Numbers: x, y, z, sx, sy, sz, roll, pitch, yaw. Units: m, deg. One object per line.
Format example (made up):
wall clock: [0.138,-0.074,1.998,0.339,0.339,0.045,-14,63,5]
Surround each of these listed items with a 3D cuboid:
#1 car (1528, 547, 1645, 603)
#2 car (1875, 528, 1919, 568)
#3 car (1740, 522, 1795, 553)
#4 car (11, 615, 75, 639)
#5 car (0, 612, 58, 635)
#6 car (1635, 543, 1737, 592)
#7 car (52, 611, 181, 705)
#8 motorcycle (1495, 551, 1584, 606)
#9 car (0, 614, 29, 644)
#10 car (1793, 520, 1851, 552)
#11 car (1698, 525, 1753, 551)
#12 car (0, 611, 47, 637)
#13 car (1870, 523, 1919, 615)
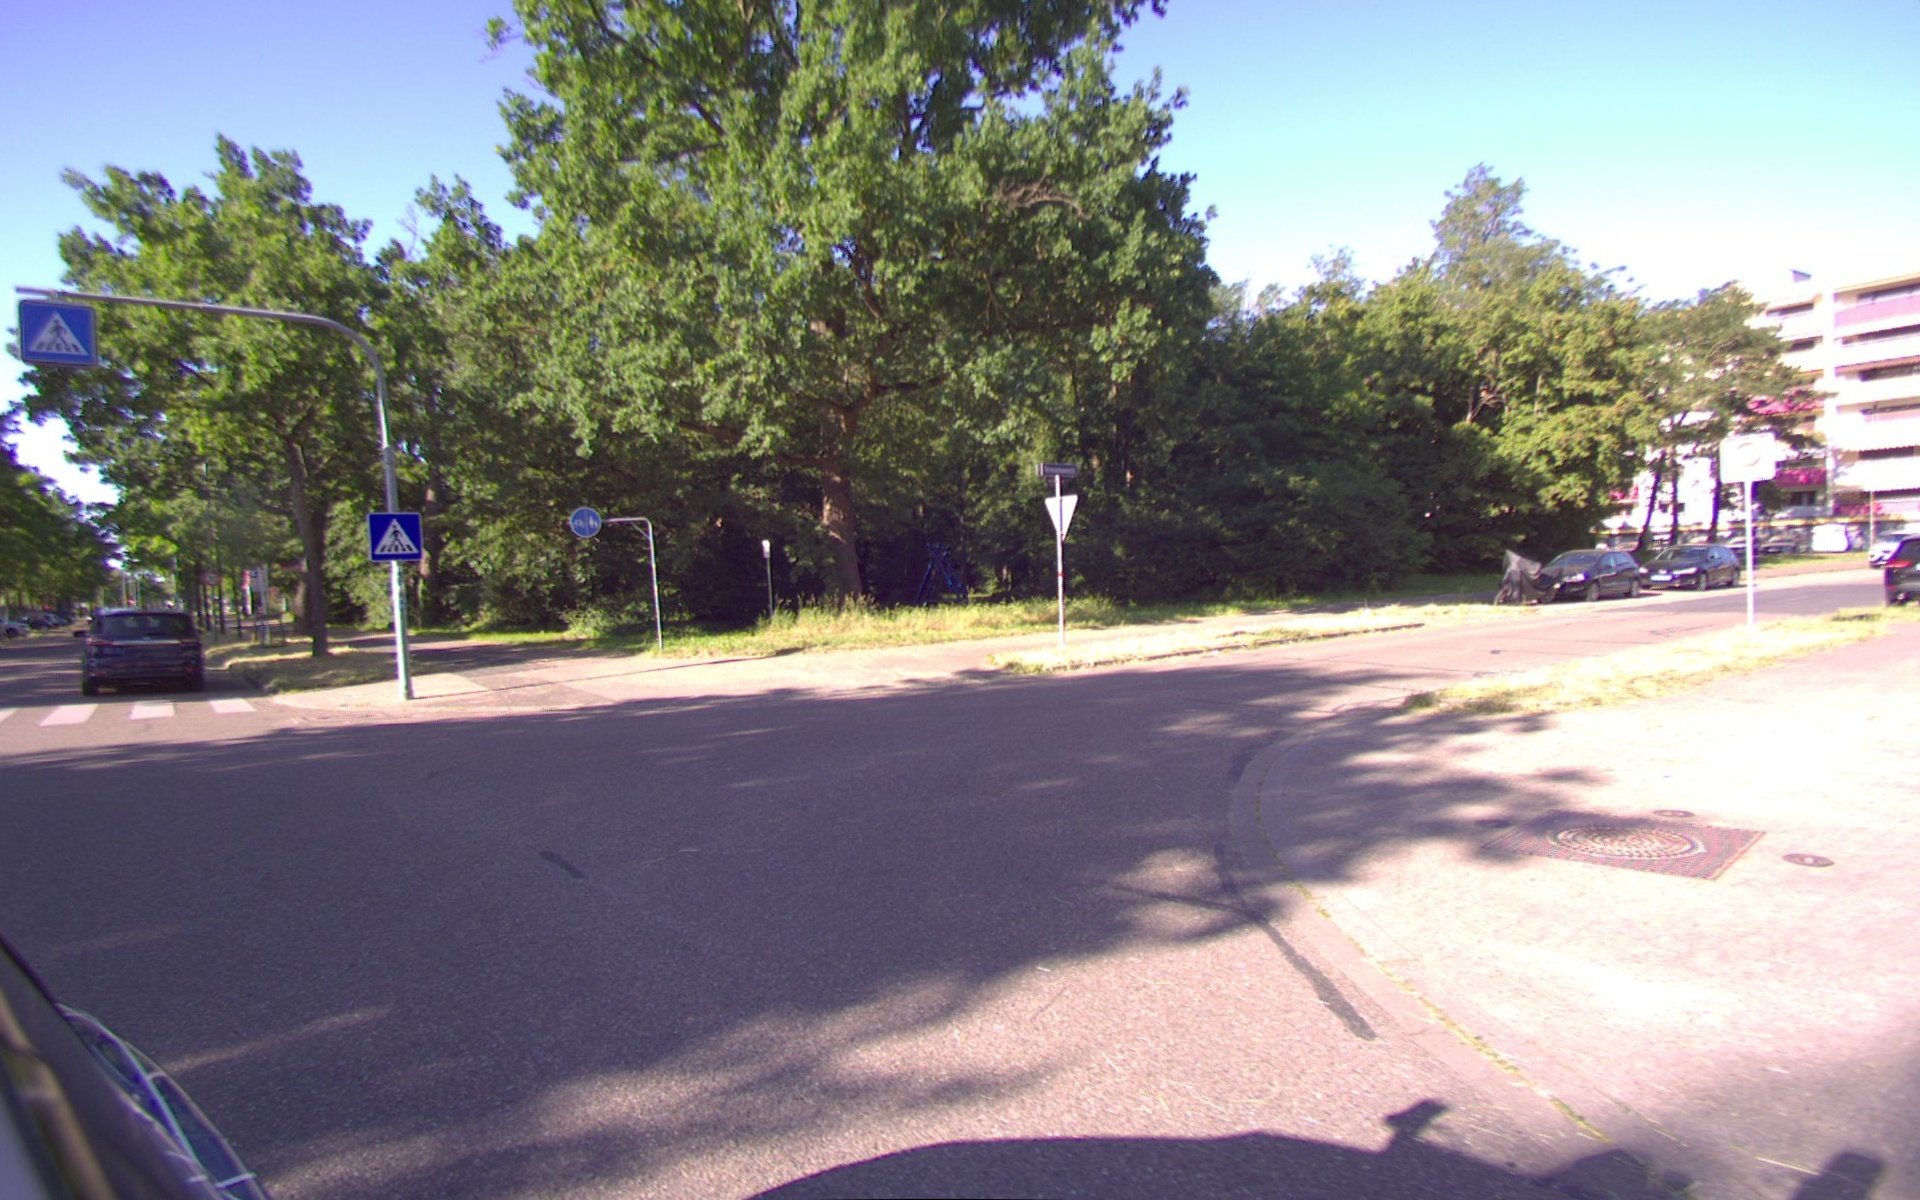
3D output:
car: [18.065,-0.741,29.146,3.530,1.402,1.563,-4,2,-35]
car: [39.874,-2.212,42.283,3.773,1.568,1.649,-4,2,-35]
car: [51.454,-3.978,64.469,3.773,1.757,1.767,-4,2,-35]
car: [-83.264,2.403,91.945,4.089,1.862,1.953,-4,2,-39]
car: [-87.561,2.212,94.974,4.089,1.862,1.953,-4,2,-39]
car: [23.398,-1.059,32.588,3.530,1.402,1.563,-4,2,-35]
car: [-16.983,1.077,20.302,1.799,1.637,4.498,-1,0,-42]
motorcycle: [15.316,-0.561,26.802,1.950,1.354,0.670,-2,1,25]
car: [-63.713,1.971,66.209,3.937,1.862,1.867,-4,2,-39]
car: [52.891,-3.939,62.087,3.773,1.757,1.767,-4,2,-35]
car: [49.908,-4.048,65.955,3.773,1.538,1.804,-4,2,-35]
car: [-77.252,1.981,82.425,4.089,1.862,1.953,-4,2,-39]
car: [20.317,-0.712,20.654,3.773,1.798,1.761,-4,2,-35]
